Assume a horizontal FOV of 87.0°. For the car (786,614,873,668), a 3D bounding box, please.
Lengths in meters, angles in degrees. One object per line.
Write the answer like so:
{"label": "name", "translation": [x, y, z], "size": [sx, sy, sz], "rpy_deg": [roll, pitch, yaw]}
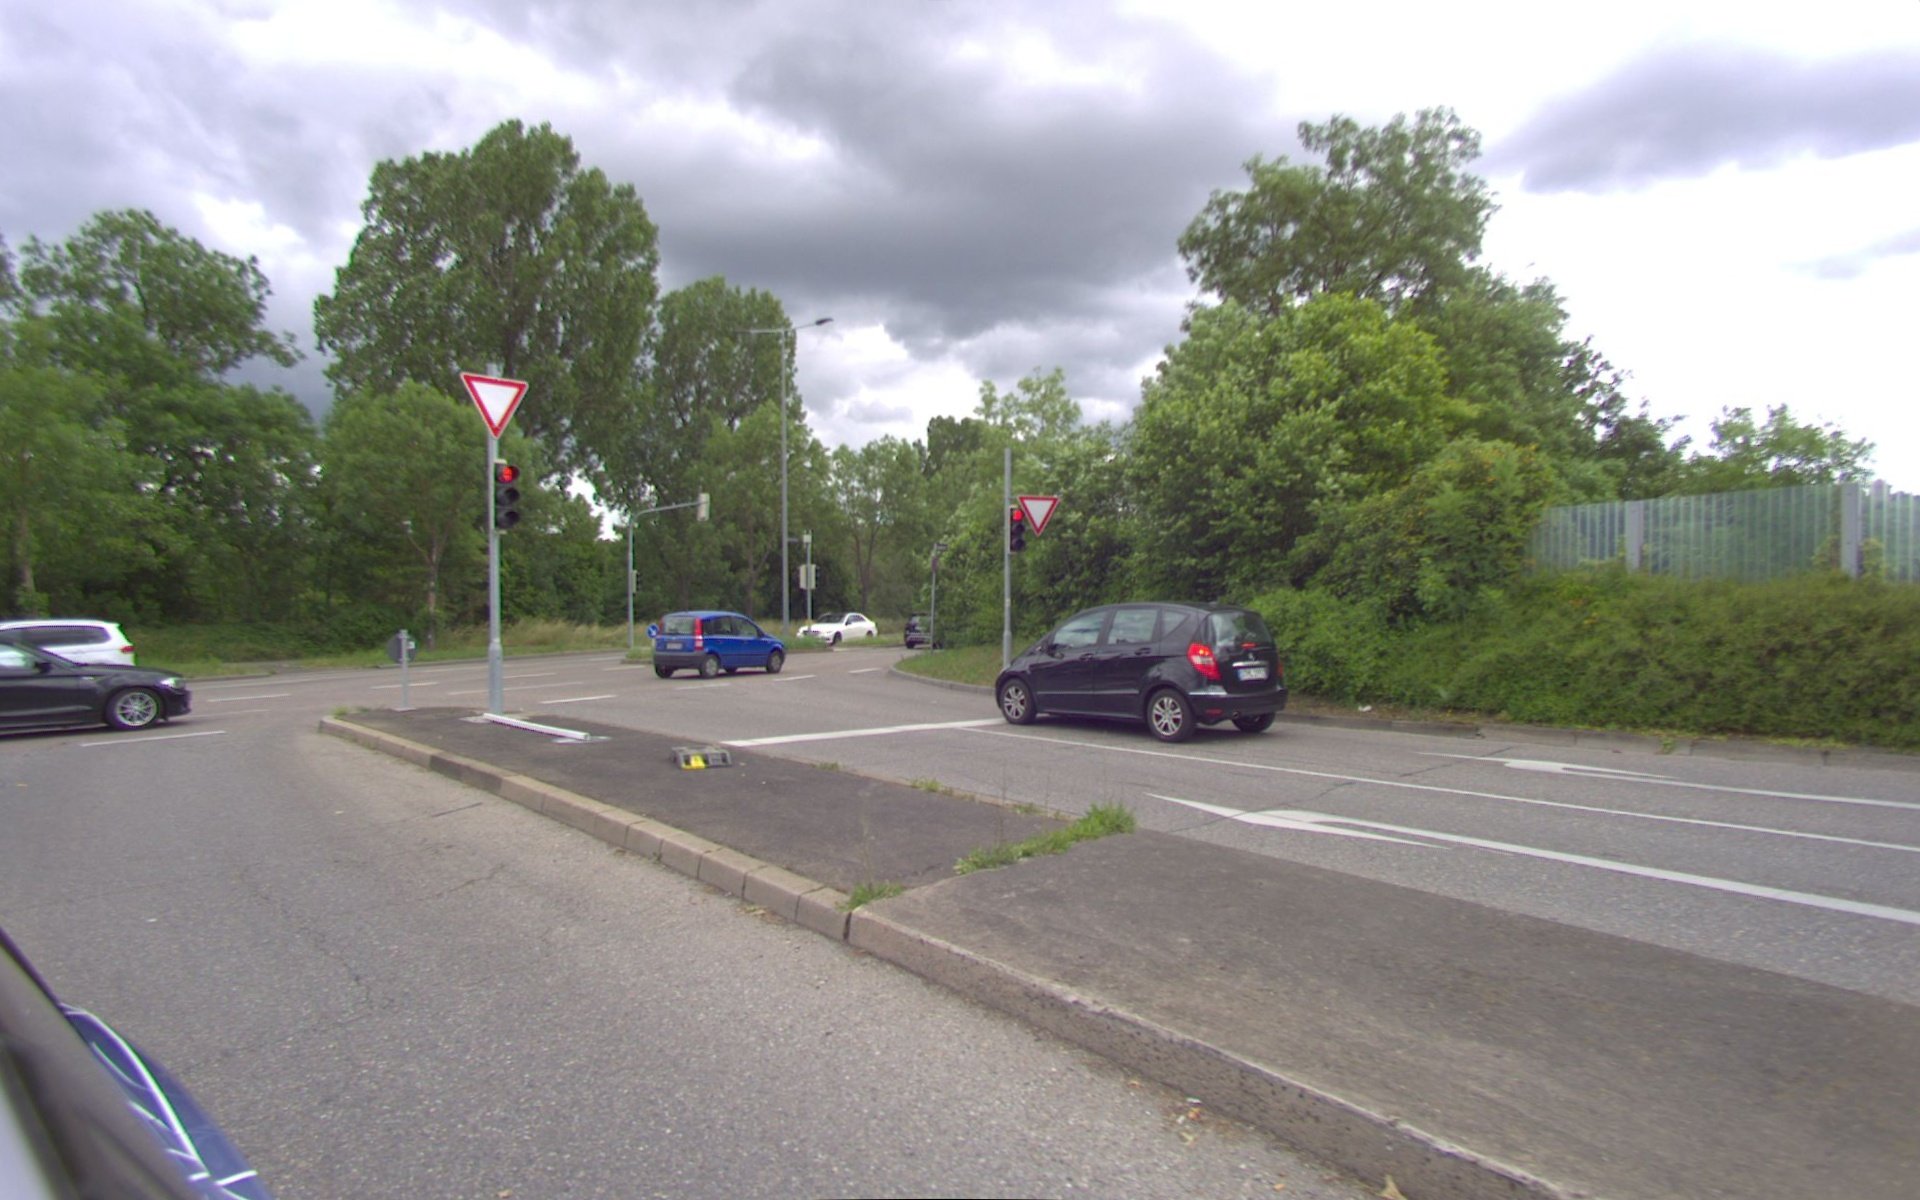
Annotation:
{"label": "car", "translation": [-5.738, 1.778, 45.012], "size": [1.924, 2.009, 4.289], "rpy_deg": [0, 3, 23]}

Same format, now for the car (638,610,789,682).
{"label": "car", "translation": [-5.728, 1.042, 23.810], "size": [1.542, 1.519, 3.345], "rpy_deg": [-2, -1, 30]}

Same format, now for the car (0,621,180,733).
{"label": "car", "translation": [-12.971, 1.049, 13.363], "size": [1.568, 1.378, 4.025], "rpy_deg": [-3, -2, 43]}

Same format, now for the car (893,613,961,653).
{"label": "car", "translation": [-1.306, 1.321, 41.513], "size": [1.647, 1.519, 3.749], "rpy_deg": [-3, -1, 16]}

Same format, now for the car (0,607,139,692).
{"label": "car", "translation": [-20.761, 1.083, 21.835], "size": [2.077, 1.773, 4.274], "rpy_deg": [-3, -4, 33]}

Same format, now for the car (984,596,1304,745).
{"label": "car", "translation": [2.134, 0.819, 12.634], "size": [1.617, 1.564, 3.795], "rpy_deg": [2, -3, -39]}
